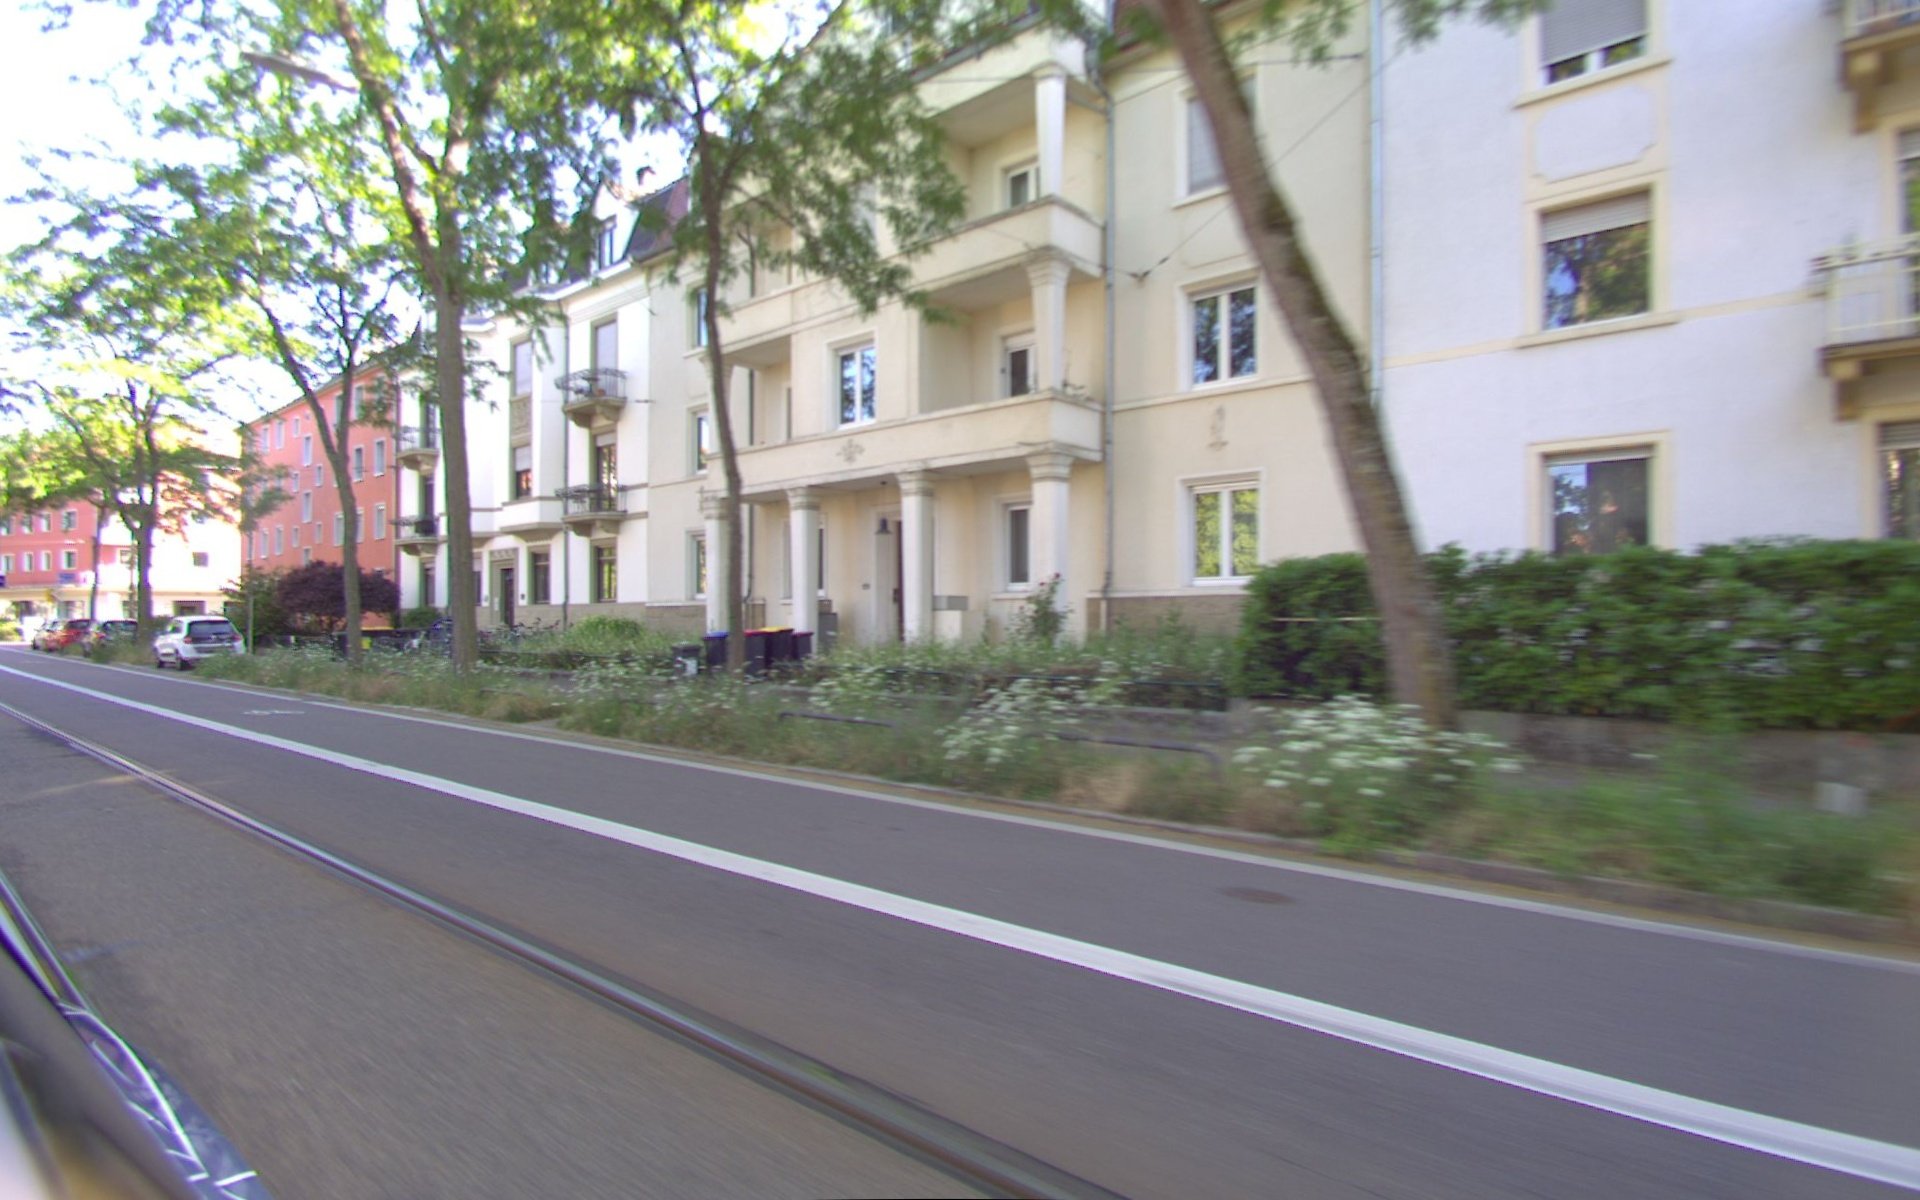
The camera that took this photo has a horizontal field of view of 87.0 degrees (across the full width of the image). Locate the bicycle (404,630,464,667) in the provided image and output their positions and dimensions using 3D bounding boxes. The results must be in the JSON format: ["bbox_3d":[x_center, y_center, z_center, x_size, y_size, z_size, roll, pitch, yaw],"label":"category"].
[{"bbox_3d":[-15.086,1.380,29.072,0.551,1.004,1.858,0,-1,7],"label":"bicycle"}]

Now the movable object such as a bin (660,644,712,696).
[{"bbox_3d":[-5.128,1.298,18.951,0.739,0.928,0.621,-1,-1,41],"label":"movable object such as a bin"}]

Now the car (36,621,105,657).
[{"bbox_3d":[-38.783,1.670,44.111,4.091,1.465,1.558,-1,-1,38],"label":"car"}]

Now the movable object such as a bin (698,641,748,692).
[{"bbox_3d":[-4.529,1.260,19.346,0.739,0.928,0.621,-1,-1,41],"label":"movable object such as a bin"}]

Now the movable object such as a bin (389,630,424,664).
[{"bbox_3d":[-18.255,1.533,33.392,0.895,1.093,0.730,-1,-2,41],"label":"movable object such as a bin"}]

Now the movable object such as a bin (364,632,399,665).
[{"bbox_3d":[-18.746,1.561,32.815,0.895,1.062,0.730,-1,-2,41],"label":"movable object such as a bin"}]

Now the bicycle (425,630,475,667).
[{"bbox_3d":[-14.220,1.340,28.268,0.550,1.004,1.863,0,-1,-3],"label":"bicycle"}]

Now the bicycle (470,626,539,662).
[{"bbox_3d":[-13.984,1.346,31.081,1.833,1.004,0.559,-2,-1,-7],"label":"bicycle"}]

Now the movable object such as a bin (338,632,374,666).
[{"bbox_3d":[-19.242,1.549,32.257,0.895,1.049,0.730,-1,-2,41],"label":"movable object such as a bin"}]

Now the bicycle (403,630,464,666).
[{"bbox_3d":[-15.620,1.410,30.079,0.552,1.004,1.855,-1,-2,12],"label":"bicycle"}]

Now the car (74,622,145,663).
[{"bbox_3d":[-32.243,1.583,38.326,3.666,1.465,1.538,-1,-1,41],"label":"car"}]

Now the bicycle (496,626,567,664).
[{"bbox_3d":[-12.590,1.317,29.769,1.833,1.004,0.559,-2,-1,-7],"label":"bicycle"}]

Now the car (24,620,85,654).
[{"bbox_3d":[-42.694,1.710,47.675,4.092,1.517,1.557,-1,-1,39],"label":"car"}]

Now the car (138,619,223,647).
[{"bbox_3d":[-50.987,2.176,66.265,4.216,1.793,1.793,1,-2,-33],"label":"car"}]

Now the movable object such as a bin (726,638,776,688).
[{"bbox_3d":[-4.093,1.225,19.810,0.739,0.928,0.621,-1,-1,41],"label":"movable object such as a bin"}]

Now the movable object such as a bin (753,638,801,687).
[{"bbox_3d":[-3.668,1.243,20.315,0.739,0.928,0.621,-1,-1,41],"label":"movable object such as a bin"}]

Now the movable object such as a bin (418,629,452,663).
[{"bbox_3d":[-17.674,1.530,34.095,0.895,1.122,0.730,-1,-2,41],"label":"movable object such as a bin"}]

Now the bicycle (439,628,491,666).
[{"bbox_3d":[-13.425,1.262,27.496,0.550,1.004,1.863,0,-1,-3],"label":"bicycle"}]

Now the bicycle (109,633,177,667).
[{"bbox_3d":[-28.867,1.758,35.771,0.542,1.129,1.793,-2,-1,41],"label":"bicycle"}]

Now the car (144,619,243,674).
[{"bbox_3d":[-23.264,1.373,30.687,3.686,1.547,1.609,-1,-1,40],"label":"car"}]

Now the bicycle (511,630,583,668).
[{"bbox_3d":[-11.874,1.406,29.144,1.831,1.004,0.560,-2,-1,-15],"label":"bicycle"}]

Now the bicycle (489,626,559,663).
[{"bbox_3d":[-13.120,1.332,30.459,1.833,1.004,0.559,-2,-1,-7],"label":"bicycle"}]
